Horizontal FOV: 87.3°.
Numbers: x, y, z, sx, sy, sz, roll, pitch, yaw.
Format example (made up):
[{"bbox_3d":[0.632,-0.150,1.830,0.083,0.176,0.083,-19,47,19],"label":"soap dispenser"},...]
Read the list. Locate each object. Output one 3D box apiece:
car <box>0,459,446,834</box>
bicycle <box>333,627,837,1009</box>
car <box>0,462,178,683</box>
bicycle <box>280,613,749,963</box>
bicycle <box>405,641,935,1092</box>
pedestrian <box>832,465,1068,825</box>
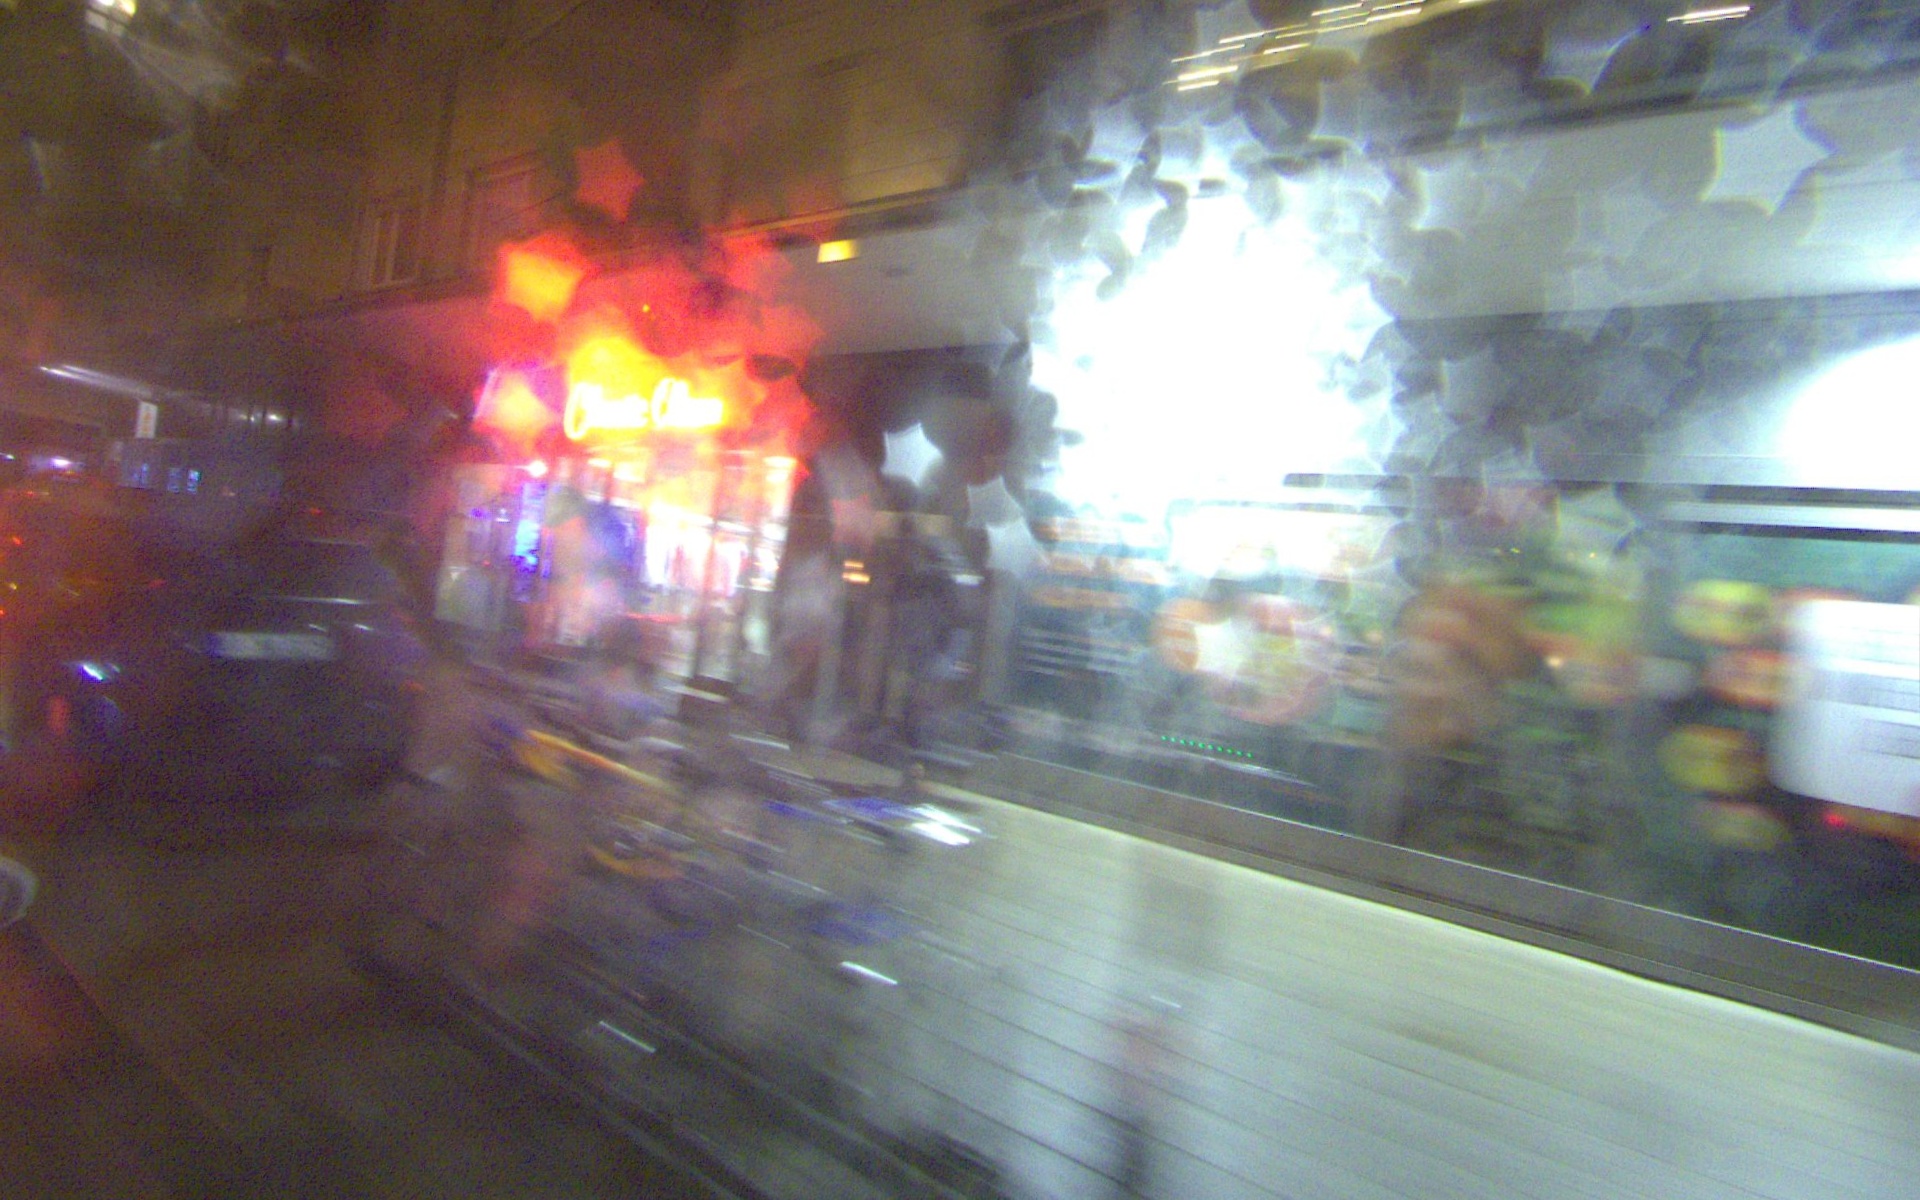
[{"bbox_3d":[-5.146,0.113,6.134,4.089,1.583,1.755,7,-2,36],"label":"car"},{"bbox_3d":[-1.284,0.733,3.841,0.429,1.092,1.763,8,0,34],"label":"bicycle"},{"bbox_3d":[-8.678,-0.401,8.680,4.329,1.555,1.755,7,-2,36],"label":"car"},{"bbox_3d":[-1.735,0.666,4.215,0.429,1.140,1.761,8,3,34],"label":"bicycle"},{"bbox_3d":[-0.848,0.782,3.495,0.429,1.138,1.784,8,0,34],"label":"bicycle"},{"bbox_3d":[-0.057,0.287,6.956,0.955,2.236,1.053,7,1,36],"label":"pedestrian"}]
